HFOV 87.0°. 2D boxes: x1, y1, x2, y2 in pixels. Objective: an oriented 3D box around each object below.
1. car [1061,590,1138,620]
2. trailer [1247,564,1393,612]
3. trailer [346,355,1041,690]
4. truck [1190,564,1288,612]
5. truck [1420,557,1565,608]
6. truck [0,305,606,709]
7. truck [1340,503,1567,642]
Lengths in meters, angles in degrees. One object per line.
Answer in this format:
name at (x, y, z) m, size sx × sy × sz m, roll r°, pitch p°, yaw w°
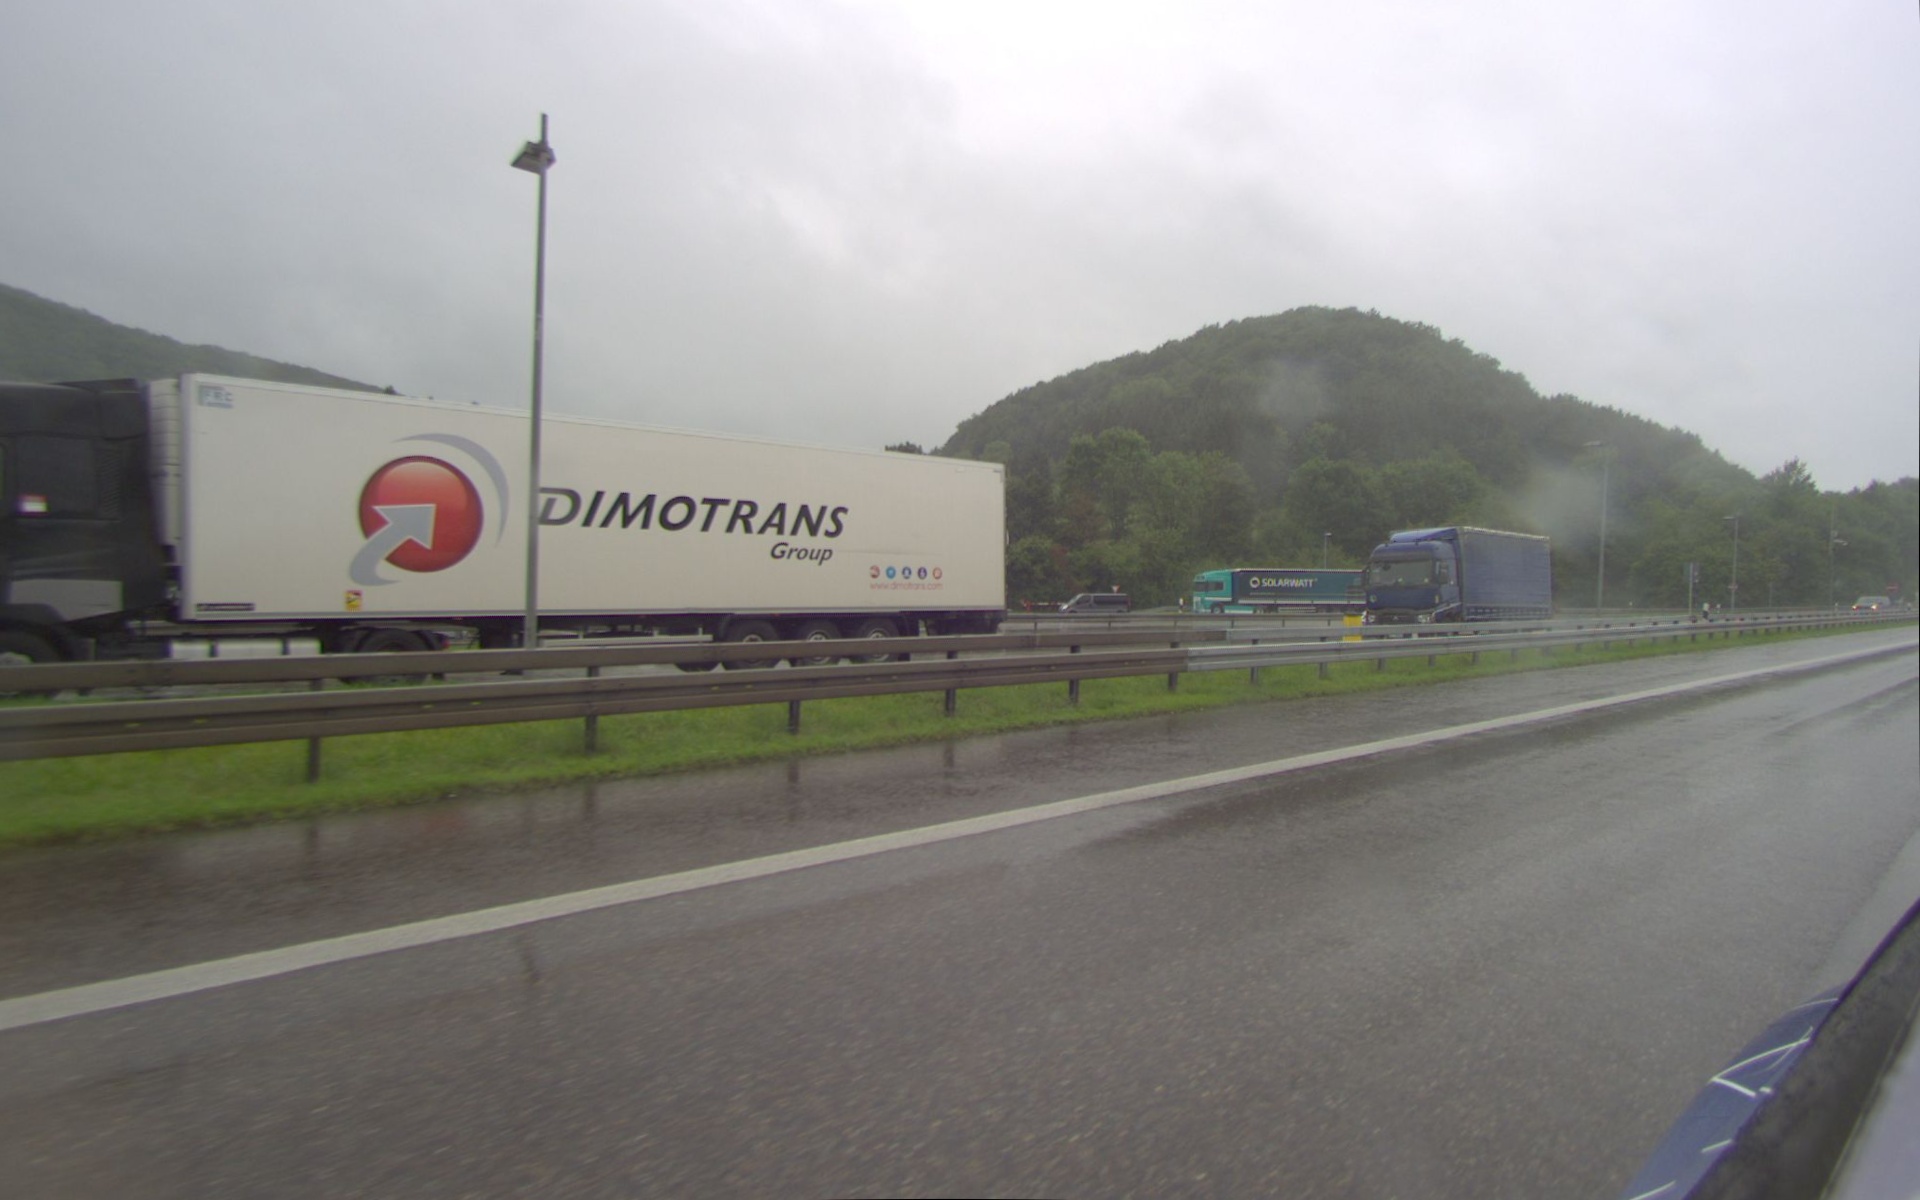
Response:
car at (9.768, 0.361, 70.988) m, size 4.948 × 2.039 × 2.004 m, roll 0°, pitch 0°, yaw -19°
trailer at (30.506, -1.026, 85.929) m, size 11.514 × 3.950 × 2.796 m, roll 0°, pitch 0°, yaw -6°
trailer at (-3.972, -1.051, 18.162) m, size 11.707 × 4.315 × 3.523 m, roll 0°, pitch 0°, yaw -40°
truck at (23.435, -1.002, 85.247) m, size 7.382 × 3.915 × 2.760 m, roll 0°, pitch 0°, yaw -6°
truck at (46.119, -1.480, 87.738) m, size 11.630 × 4.310 × 2.884 m, roll 0°, pitch 0°, yaw -8°
truck at (-9.253, -1.013, 13.760) m, size 7.678 × 4.273 × 3.534 m, roll 0°, pitch 0°, yaw -40°
truck at (18.331, -0.865, 37.085) m, size 10.853 × 4.458 × 3.407 m, roll 0°, pitch -1°, yaw -40°
